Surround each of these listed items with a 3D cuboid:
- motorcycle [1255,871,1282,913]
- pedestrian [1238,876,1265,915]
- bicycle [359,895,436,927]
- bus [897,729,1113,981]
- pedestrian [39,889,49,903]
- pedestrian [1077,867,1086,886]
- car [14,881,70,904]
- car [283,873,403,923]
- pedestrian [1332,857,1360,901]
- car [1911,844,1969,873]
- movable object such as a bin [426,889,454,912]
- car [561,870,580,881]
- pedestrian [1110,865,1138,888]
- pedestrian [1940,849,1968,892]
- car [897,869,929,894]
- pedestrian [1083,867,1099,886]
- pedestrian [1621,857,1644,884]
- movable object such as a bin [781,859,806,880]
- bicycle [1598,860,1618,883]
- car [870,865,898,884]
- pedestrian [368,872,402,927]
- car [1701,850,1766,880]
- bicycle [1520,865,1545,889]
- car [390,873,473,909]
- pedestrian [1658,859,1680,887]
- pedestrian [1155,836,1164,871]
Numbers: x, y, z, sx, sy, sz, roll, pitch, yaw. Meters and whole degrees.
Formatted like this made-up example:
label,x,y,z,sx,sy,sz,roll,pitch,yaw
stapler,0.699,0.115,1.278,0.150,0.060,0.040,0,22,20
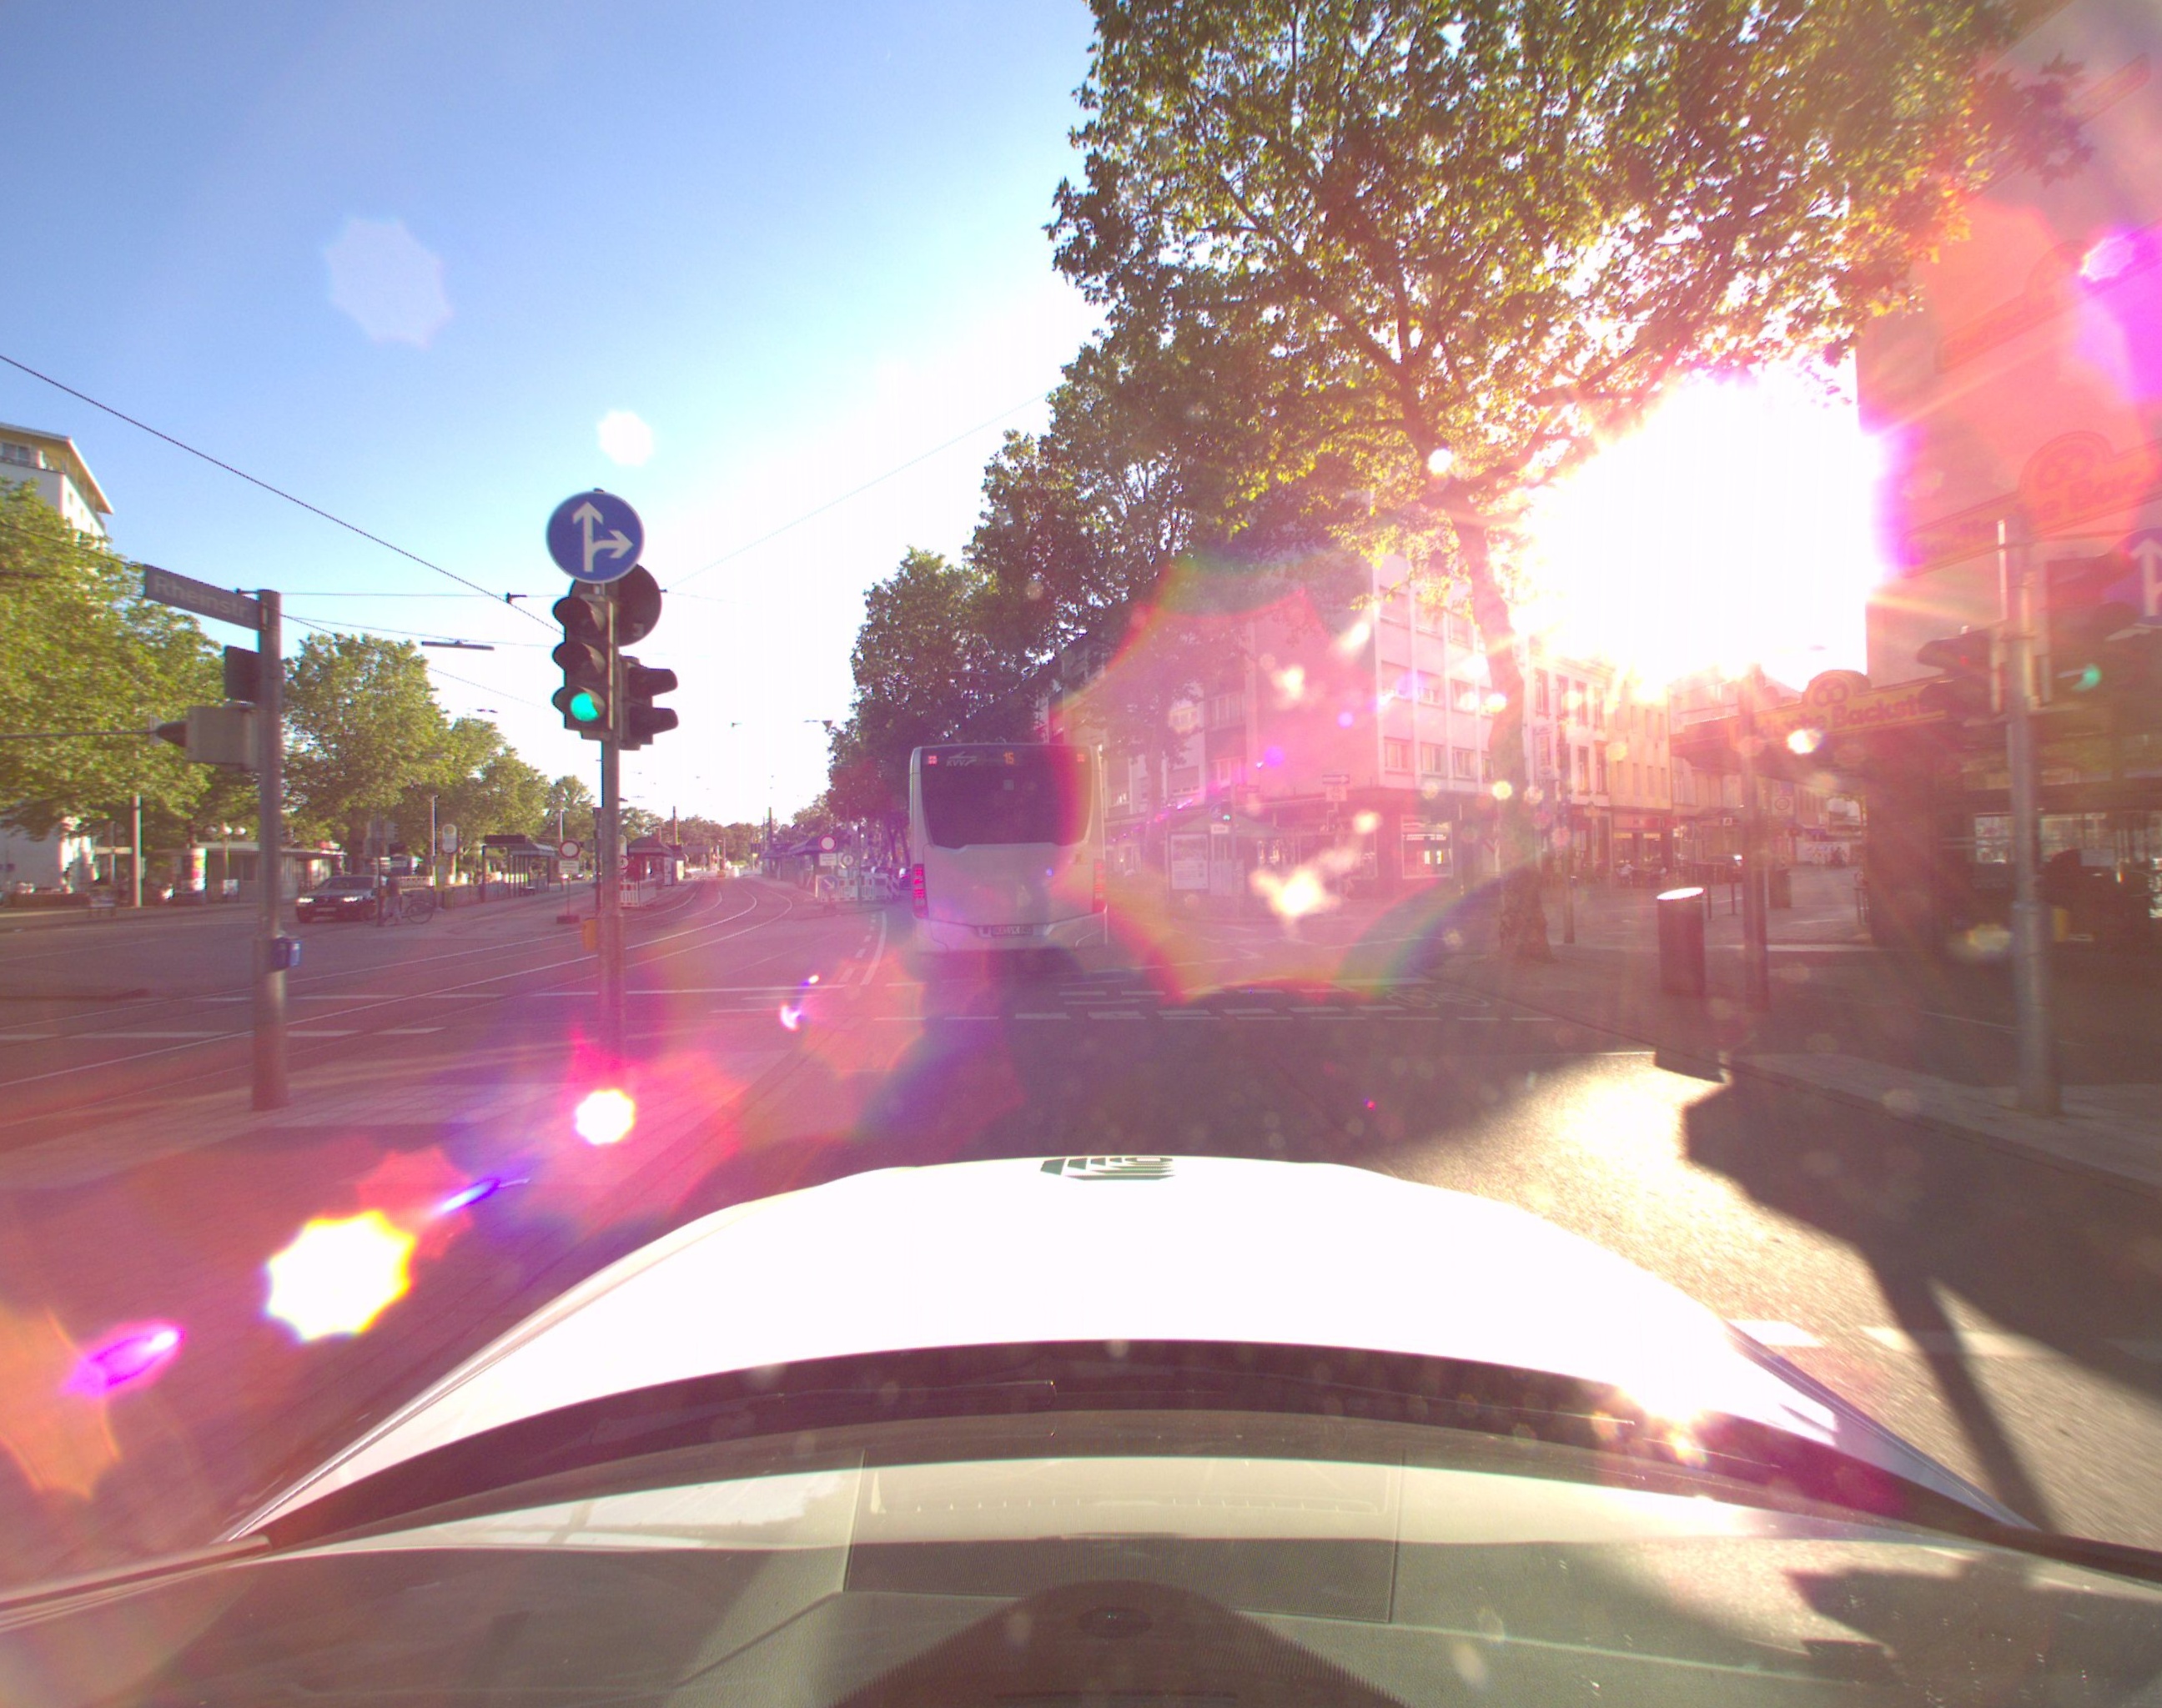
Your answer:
label,x,y,z,sx,sy,sz,roll,pitch,yaw
motorcycle,5.417,1.086,23.572,0.567,1.158,1.463,1,-1,5
pedestrian,5.567,1.340,26.636,0.552,1.243,0.728,1,-1,-18
bicycle,-22.375,1.851,26.691,1.850,0.942,0.459,-1,-1,-26
bus,-1.628,0.090,15.251,2.656,3.099,10.186,-1,-1,-8
pedestrian,-80.920,3.248,63.555,0.395,1.072,0.384,0,-1,-44
pedestrian,0.030,1.375,49.649,0.389,1.122,0.390,-1,-1,-21
car,-82.356,3.024,64.609,2.011,1.565,3.952,1,-1,-42
car,-26.399,1.522,29.323,1.894,1.585,4.175,-1,-1,-22
pedestrian,9.504,0.880,29.225,0.606,1.548,0.708,1,-1,-37
car,51.364,0.292,48.683,4.016,1.662,1.823,1,-1,-34
movable object such as a bin,-25.359,1.852,32.233,0.673,0.866,0.697,1,-1,-22
car,-74.053,3.122,118.161,1.896,1.531,4.170,-1,-1,-27
pedestrian,2.288,1.204,43.411,1.181,1.197,0.920,-1,-1,-20
pedestrian,32.559,0.607,30.378,0.697,1.576,0.658,1,-1,-38
car,-10.763,1.710,52.065,1.759,1.464,3.978,-1,-1,-16
pedestrian,0.558,1.291,47.368,0.707,1.108,0.761,-1,-1,-20
pedestrian,25.738,0.773,38.017,0.549,1.243,0.731,1,-1,-3
movable object such as a bin,-35.550,1.892,100.493,2.505,2.477,5.313,-1,-1,-24
bicycle,26.954,0.879,41.641,1.727,1.040,0.291,-4,-1,-40
car,-15.585,1.592,64.388,1.762,1.464,3.973,-1,-1,-20
pedestrian,-22.386,1.460,26.199,0.723,1.725,0.396,-1,-1,-26
car,35.034,0.563,43.698,4.019,1.495,1.821,-1,1,-38
bicycle,19.979,1.021,36.034,1.727,1.041,0.291,0,-4,-39
car,-30.074,1.677,37.865,1.894,1.531,4.175,-1,-1,-22
pedestrian,26.648,0.867,36.897,0.601,1.243,0.686,1,-1,-41
pedestrian,3.916,-0.040,40.543,0.358,1.718,0.308,1,-1,-13
